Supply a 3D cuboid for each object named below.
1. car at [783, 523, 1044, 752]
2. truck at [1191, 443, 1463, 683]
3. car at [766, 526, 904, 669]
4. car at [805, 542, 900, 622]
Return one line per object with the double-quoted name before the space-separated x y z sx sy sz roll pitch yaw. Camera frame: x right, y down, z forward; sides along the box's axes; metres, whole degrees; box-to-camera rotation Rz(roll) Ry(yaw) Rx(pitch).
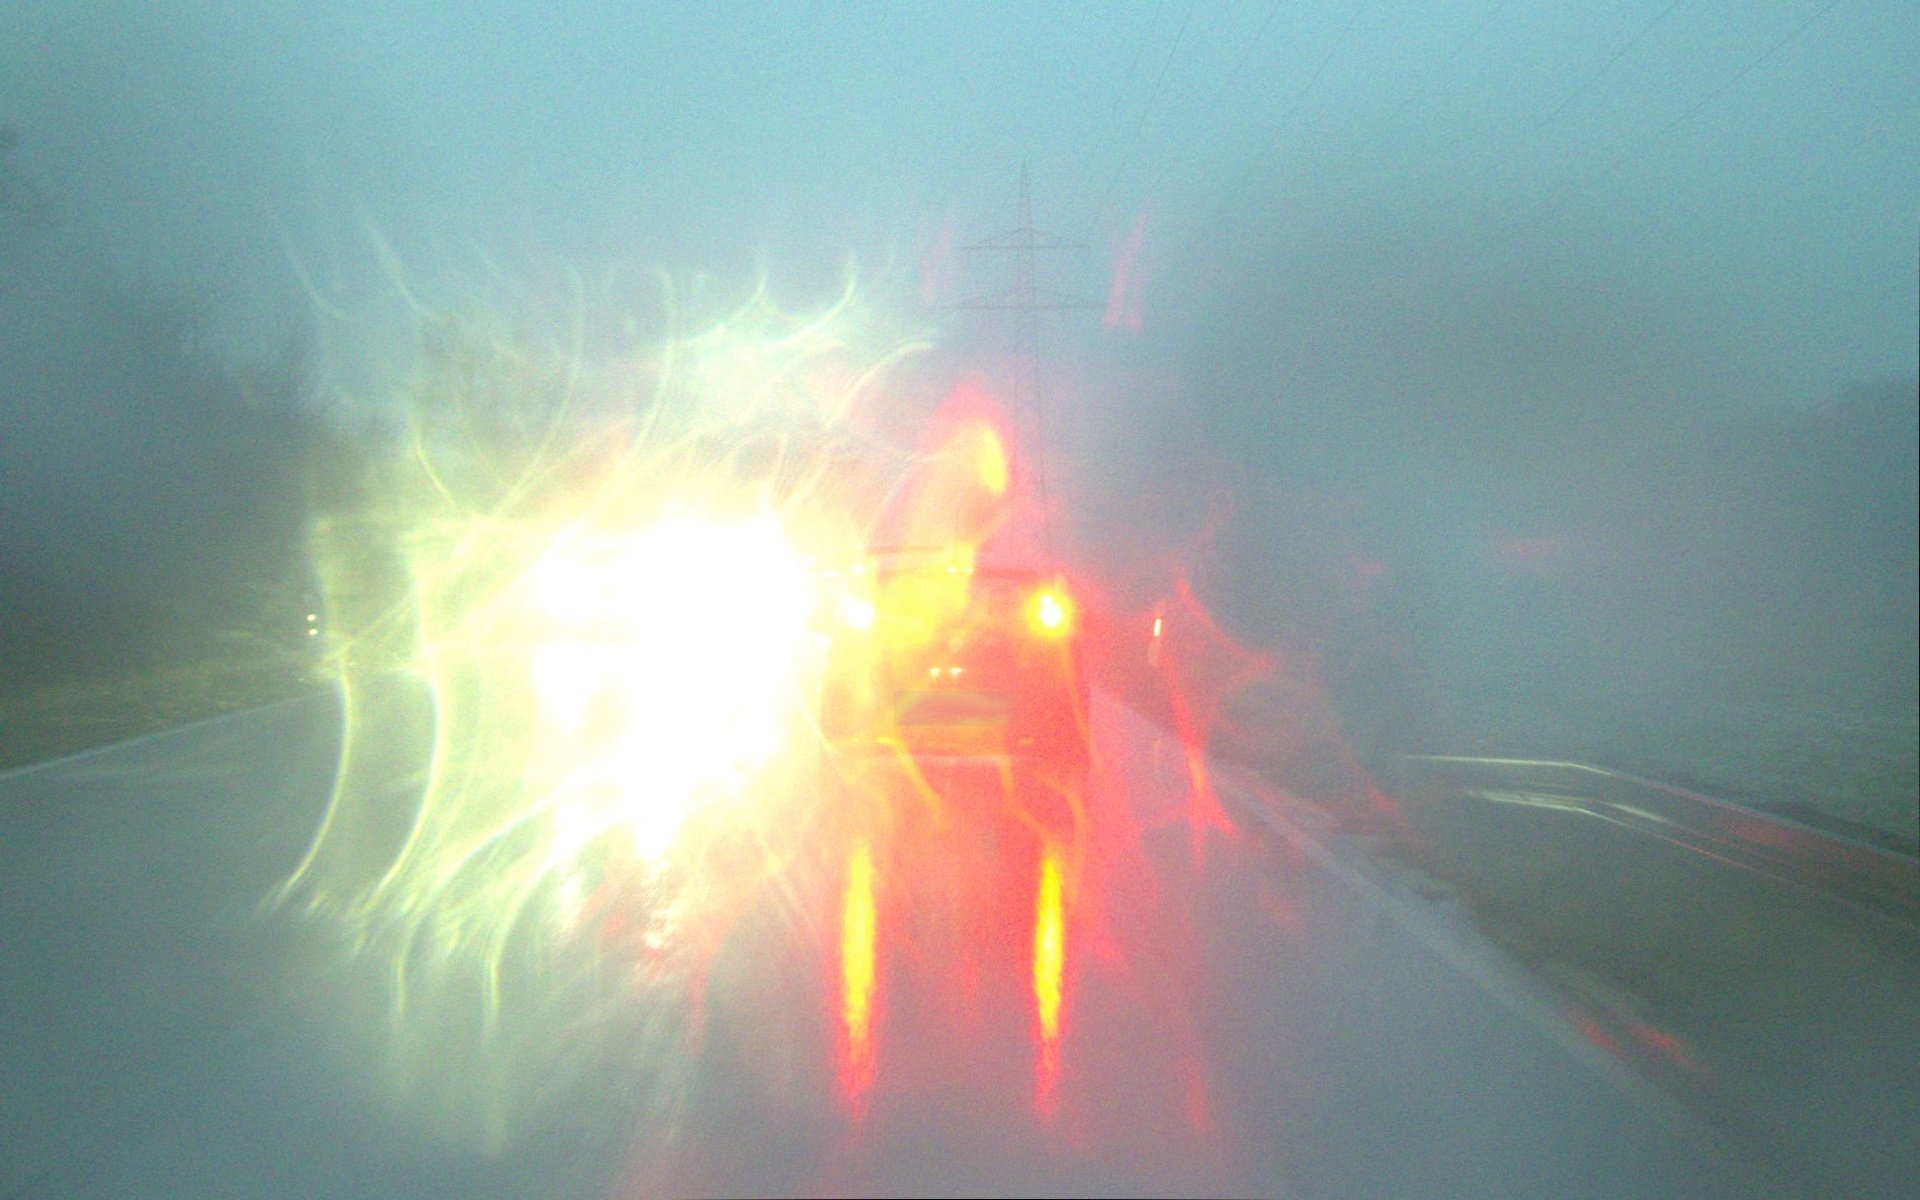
"car" -0.363 0.213 22.635 1.500 1.393 3.200 0 1 -4
"truck" 4.831 -0.504 46.682 2.533 2.968 7.858 0 1 -2
"car" -1.875 -0.064 50.551 1.852 2.007 4.001 0 1 -4
"car" -2.250 -0.396 70.881 1.769 1.585 4.165 0 1 -4
